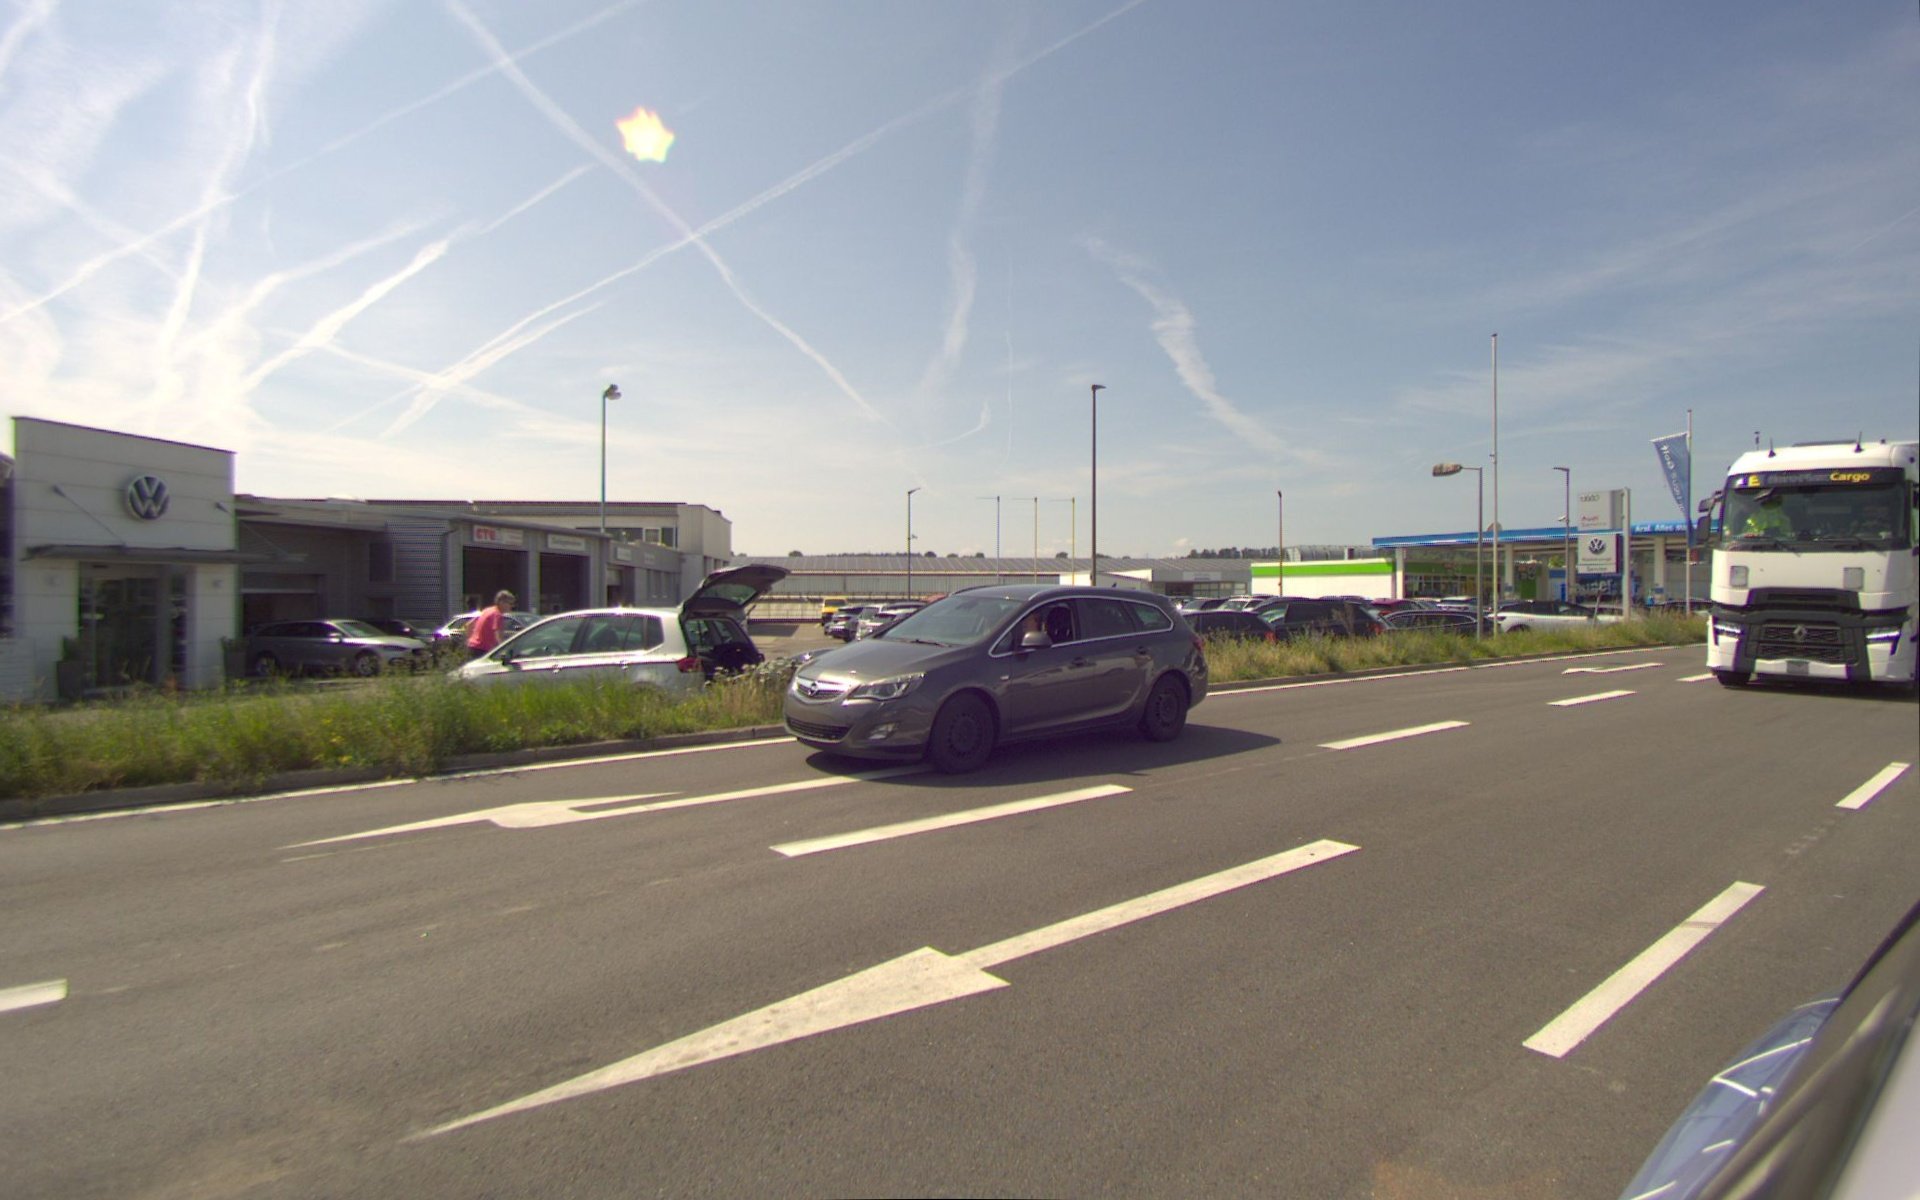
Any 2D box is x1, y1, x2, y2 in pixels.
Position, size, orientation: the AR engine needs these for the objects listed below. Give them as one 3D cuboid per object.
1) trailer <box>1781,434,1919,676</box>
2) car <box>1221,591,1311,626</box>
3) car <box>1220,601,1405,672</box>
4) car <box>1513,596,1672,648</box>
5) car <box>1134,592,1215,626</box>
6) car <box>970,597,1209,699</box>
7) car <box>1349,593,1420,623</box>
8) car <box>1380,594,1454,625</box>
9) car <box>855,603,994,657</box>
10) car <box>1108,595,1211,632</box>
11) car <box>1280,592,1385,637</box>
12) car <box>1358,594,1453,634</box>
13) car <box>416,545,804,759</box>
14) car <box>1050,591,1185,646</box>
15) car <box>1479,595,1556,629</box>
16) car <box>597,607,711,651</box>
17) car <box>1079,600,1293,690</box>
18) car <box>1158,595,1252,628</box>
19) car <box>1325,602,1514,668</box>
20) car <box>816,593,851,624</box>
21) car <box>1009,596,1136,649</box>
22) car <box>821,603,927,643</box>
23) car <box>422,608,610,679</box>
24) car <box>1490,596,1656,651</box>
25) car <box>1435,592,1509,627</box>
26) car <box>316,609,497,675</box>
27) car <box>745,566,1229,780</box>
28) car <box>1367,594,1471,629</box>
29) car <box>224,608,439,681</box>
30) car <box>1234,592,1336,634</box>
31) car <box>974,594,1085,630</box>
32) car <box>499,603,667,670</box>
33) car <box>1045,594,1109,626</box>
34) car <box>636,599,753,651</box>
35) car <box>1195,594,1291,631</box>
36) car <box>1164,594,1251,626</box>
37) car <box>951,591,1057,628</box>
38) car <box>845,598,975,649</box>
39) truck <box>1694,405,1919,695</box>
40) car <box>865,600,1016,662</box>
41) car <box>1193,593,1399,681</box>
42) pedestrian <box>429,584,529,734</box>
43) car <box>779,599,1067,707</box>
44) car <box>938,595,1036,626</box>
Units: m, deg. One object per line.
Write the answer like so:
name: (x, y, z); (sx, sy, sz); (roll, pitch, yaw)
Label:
trailer: (20.866, -0.819, 21.995); (11.091, 4.280, 2.612); (0, 1, -40)
car: (15.268, 0.404, 50.440); (4.448, 1.675, 1.777); (0, 1, -32)
car: (8.250, 0.795, 23.731); (3.957, 1.476, 1.761); (1, 1, 25)
car: (22.094, 0.725, 35.583); (4.490, 1.675, 1.761); (1, 1, 25)
car: (10.570, 0.419, 49.736); (4.051, 1.551, 1.609); (0, 1, -35)
car: (2.314, 0.779, 18.058); (3.953, 1.578, 1.700); (1, 1, 22)
car: (23.976, 0.431, 57.090); (4.242, 1.600, 1.722); (0, 1, -35)
car: (24.748, 0.478, 54.740); (4.158, 1.600, 1.776); (0, 1, -35)
car: (-1.156, 0.947, 34.209); (4.452, 1.675, 1.776); (0, 1, -36)
car: (8.560, 0.543, 43.829); (1.910, 1.477, 4.544); (0, 1, -29)
car: (14.951, 0.558, 40.531); (4.452, 1.675, 1.776); (0, 1, -35)
car: (19.381, 0.583, 43.979); (4.452, 1.600, 1.776); (0, 1, -35)
car: (-4.203, 0.497, 12.179); (4.295, 2.240, 1.752); (1, 1, 20)
car: (5.178, 0.556, 33.012); (4.454, 1.675, 1.775); (0, 1, -38)
car: (27.968, 0.581, 50.749); (4.069, 1.600, 1.776); (0, 1, -35)
car: (-11.796, 1.094, 39.035); (4.028, 1.510, 1.764); (1, 1, 21)
car: (4.421, 0.826, 19.989); (3.941, 1.572, 1.768); (1, 1, 14)
car: (11.455, 0.517, 47.121); (4.452, 1.459, 1.776); (0, 1, -35)
car: (12.337, 0.897, 27.496); (4.479, 1.600, 1.765); (1, 1, 19)
car: (-8.690, 0.555, 69.836); (2.167, 1.955, 4.164); (1, 1, -4)
car: (3.916, 0.724, 34.936); (4.352, 1.675, 1.775); (0, 1, -38)
car: (-3.793, 0.985, 45.023); (4.453, 1.675, 1.776); (0, 1, -36)
car: (-11.046, 1.053, 25.321); (4.008, 1.629, 1.690); (1, -1, 8)
car: (20.232, 0.733, 33.630); (4.487, 1.675, 1.762); (1, 1, 24)
car: (26.741, 0.467, 52.796); (4.179, 1.734, 1.714); (0, 1, -35)
car: (-15.260, 1.127, 28.026); (4.095, 1.675, 1.775); (1, 1, 4)
car: (0.423, 0.500, 9.483); (4.373, 1.538, 1.996); (0, 1, -42)
car: (22.959, 0.544, 50.811); (1.742, 1.600, 4.540); (0, 1, -33)
car: (-15.908, 1.106, 25.748); (4.468, 1.675, 1.774); (1, 1, 4)
car: (13.797, 0.506, 42.864); (4.452, 1.675, 1.776); (0, 1, -35)
car: (3.001, 0.509, 43.718); (4.390, 1.449, 1.827); (0, 1, -19)
car: (-10.361, 0.962, 27.963); (4.009, 1.675, 1.772); (1, 1, 9)
car: (6.710, 0.558, 58.755); (2.025, 1.750, 4.548); (0, 1, -17)
car: (-10.934, 0.973, 41.671); (4.484, 1.973, 1.763); (1, 1, 22)
car: (12.639, 0.521, 45.090); (4.452, 1.545, 1.691); (0, 1, -35)
car: (13.483, 0.515, 55.033); (4.444, 1.675, 1.779); (0, 1, -25)
car: (1.972, 0.419, 46.042); (4.442, 1.603, 1.827); (0, 1, -19)
car: (-1.787, 0.814, 36.997); (4.452, 1.751, 1.823); (0, 1, -35)
truck: (14.852, -0.722, 16.982); (5.933, 4.037, 2.647); (0, 1, -39)
car: (-0.530, 0.872, 30.815); (4.464, 1.675, 1.964); (0, 1, -45)
car: (6.990, 0.718, 21.361); (3.946, 1.675, 1.766); (1, 1, 17)
pedestrian: (-6.498, 0.764, 13.693); (0.974, 1.935, 0.740); (1, 0, 15)
car: (-0.572, 0.772, 16.229); (4.285, 1.470, 1.766); (1, 1, 18)
car: (1.326, 0.514, 50.037); (4.442, 1.493, 1.827); (0, 1, -19)
